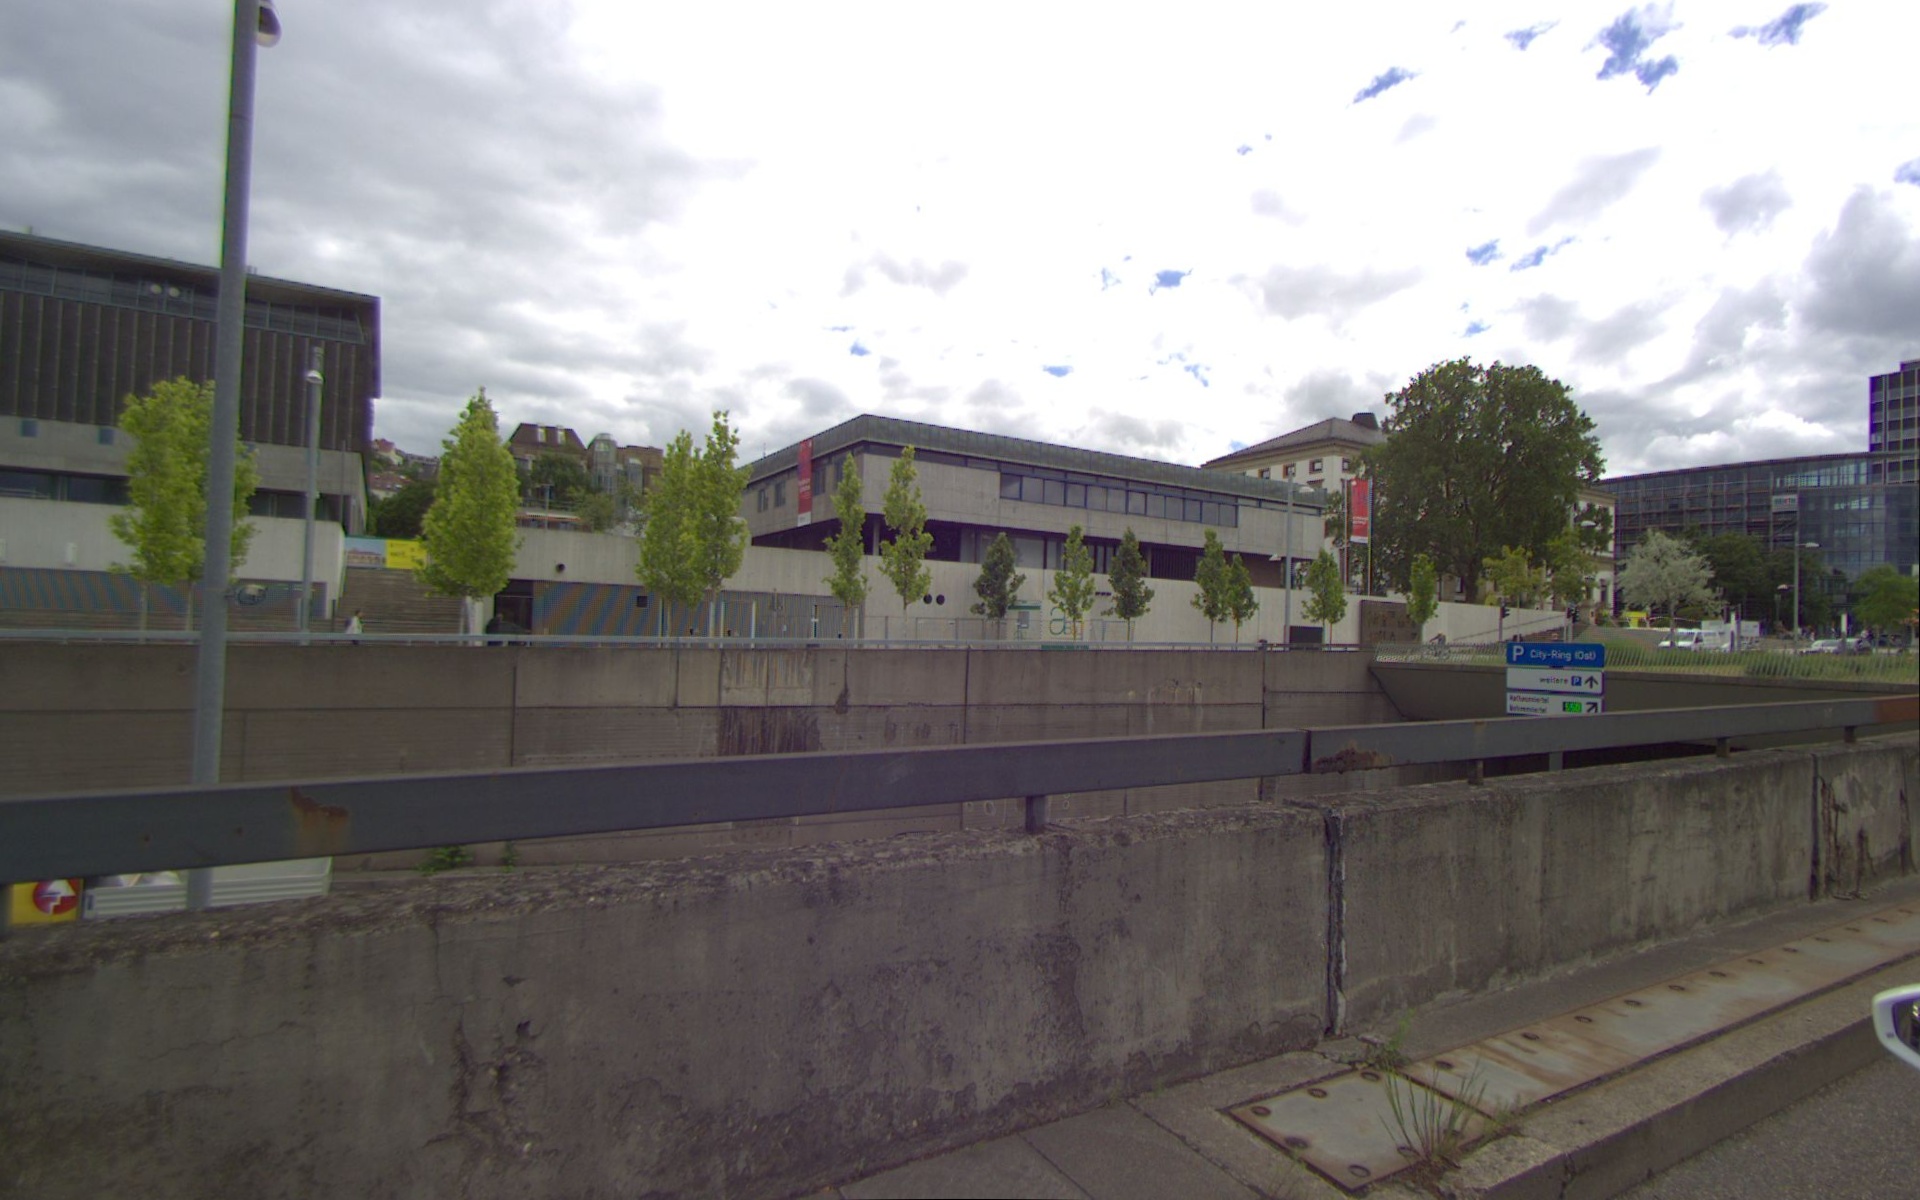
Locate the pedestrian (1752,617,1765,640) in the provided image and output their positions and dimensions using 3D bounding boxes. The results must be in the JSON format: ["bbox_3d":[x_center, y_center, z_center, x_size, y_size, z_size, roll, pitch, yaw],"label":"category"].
[{"bbox_3d":[72.753,2.609,91.507,0.784,2.040,0.734,4,-2,-32],"label":"pedestrian"}]

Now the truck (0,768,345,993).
[{"bbox_3d":[-12.444,4.118,15.204,5.318,2.432,2.171,0,-1,-32],"label":"truck"}]

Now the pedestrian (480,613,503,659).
[{"bbox_3d":[-17.533,1.340,37.595,0.783,1.664,0.736,0,-1,-27],"label":"pedestrian"}]

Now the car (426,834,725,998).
[{"bbox_3d":[-6.003,4.813,15.779,4.121,1.591,1.803,3,0,-30],"label":"car"}]

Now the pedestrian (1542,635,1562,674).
[{"bbox_3d":[31.329,2.885,53.152,0.848,2.040,0.627,-1,-1,34],"label":"pedestrian"}]

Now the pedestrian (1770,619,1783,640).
[{"bbox_3d":[79.896,2.906,98.276,0.783,2.040,0.735,0,-1,-29],"label":"pedestrian"}]

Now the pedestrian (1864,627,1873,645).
[{"bbox_3d":[101.077,4.003,111.780,0.731,2.040,0.788,-1,-1,45],"label":"pedestrian"}]

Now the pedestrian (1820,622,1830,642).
[{"bbox_3d":[89.436,3.334,103.817,0.731,2.040,0.788,-1,-1,45],"label":"pedestrian"}]

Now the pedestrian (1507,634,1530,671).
[{"bbox_3d":[31.640,2.956,56.897,0.784,2.040,0.830,1,-1,-32],"label":"pedestrian"}]

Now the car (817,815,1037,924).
[{"bbox_3d":[-0.702,5.881,22.343,4.345,1.789,2.153,6,-5,-30],"label":"car"}]

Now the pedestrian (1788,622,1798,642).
[{"bbox_3d":[86.159,3.273,103.873,0.730,2.040,0.916,-1,-1,40],"label":"pedestrian"}]

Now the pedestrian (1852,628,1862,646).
[{"bbox_3d":[100.393,4.106,112.439,0.731,2.040,0.788,-1,-1,45],"label":"pedestrian"}]

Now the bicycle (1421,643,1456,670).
[{"bbox_3d":[28.429,3.360,59.657,2.165,1.556,0.722,3,0,-31],"label":"bicycle"}]

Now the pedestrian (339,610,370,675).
[{"bbox_3d":[-19.536,1.362,32.409,0.782,2.040,0.736,0,-1,-26],"label":"pedestrian"}]

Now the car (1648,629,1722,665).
[{"bbox_3d":[44.630,2.879,61.835,4.635,2.040,1.985,0,0,-30],"label":"car"}]

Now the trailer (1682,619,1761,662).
[{"bbox_3d":[48.925,2.565,64.515,5.443,2.640,2.027,1,1,-30],"label":"trailer"}]

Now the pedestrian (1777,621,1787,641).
[{"bbox_3d":[85.743,3.255,104.810,0.729,2.040,0.917,-1,-1,37],"label":"pedestrian"}]

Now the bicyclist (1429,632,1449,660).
[{"bbox_3d":[28.405,2.739,59.581,0.767,1.574,0.727,3,0,-31],"label":"bicyclist"}]

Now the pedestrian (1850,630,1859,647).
[{"bbox_3d":[104.901,4.524,117.800,0.729,2.040,0.790,-1,-1,38],"label":"pedestrian"}]

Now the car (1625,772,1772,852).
[{"bbox_3d":[29.707,8.429,40.376,5.866,2.341,2.607,3,0,-30],"label":"car"}]

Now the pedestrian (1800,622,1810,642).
[{"bbox_3d":[87.256,3.333,103.750,0.729,2.040,1.078,-1,-1,39],"label":"pedestrian"}]
